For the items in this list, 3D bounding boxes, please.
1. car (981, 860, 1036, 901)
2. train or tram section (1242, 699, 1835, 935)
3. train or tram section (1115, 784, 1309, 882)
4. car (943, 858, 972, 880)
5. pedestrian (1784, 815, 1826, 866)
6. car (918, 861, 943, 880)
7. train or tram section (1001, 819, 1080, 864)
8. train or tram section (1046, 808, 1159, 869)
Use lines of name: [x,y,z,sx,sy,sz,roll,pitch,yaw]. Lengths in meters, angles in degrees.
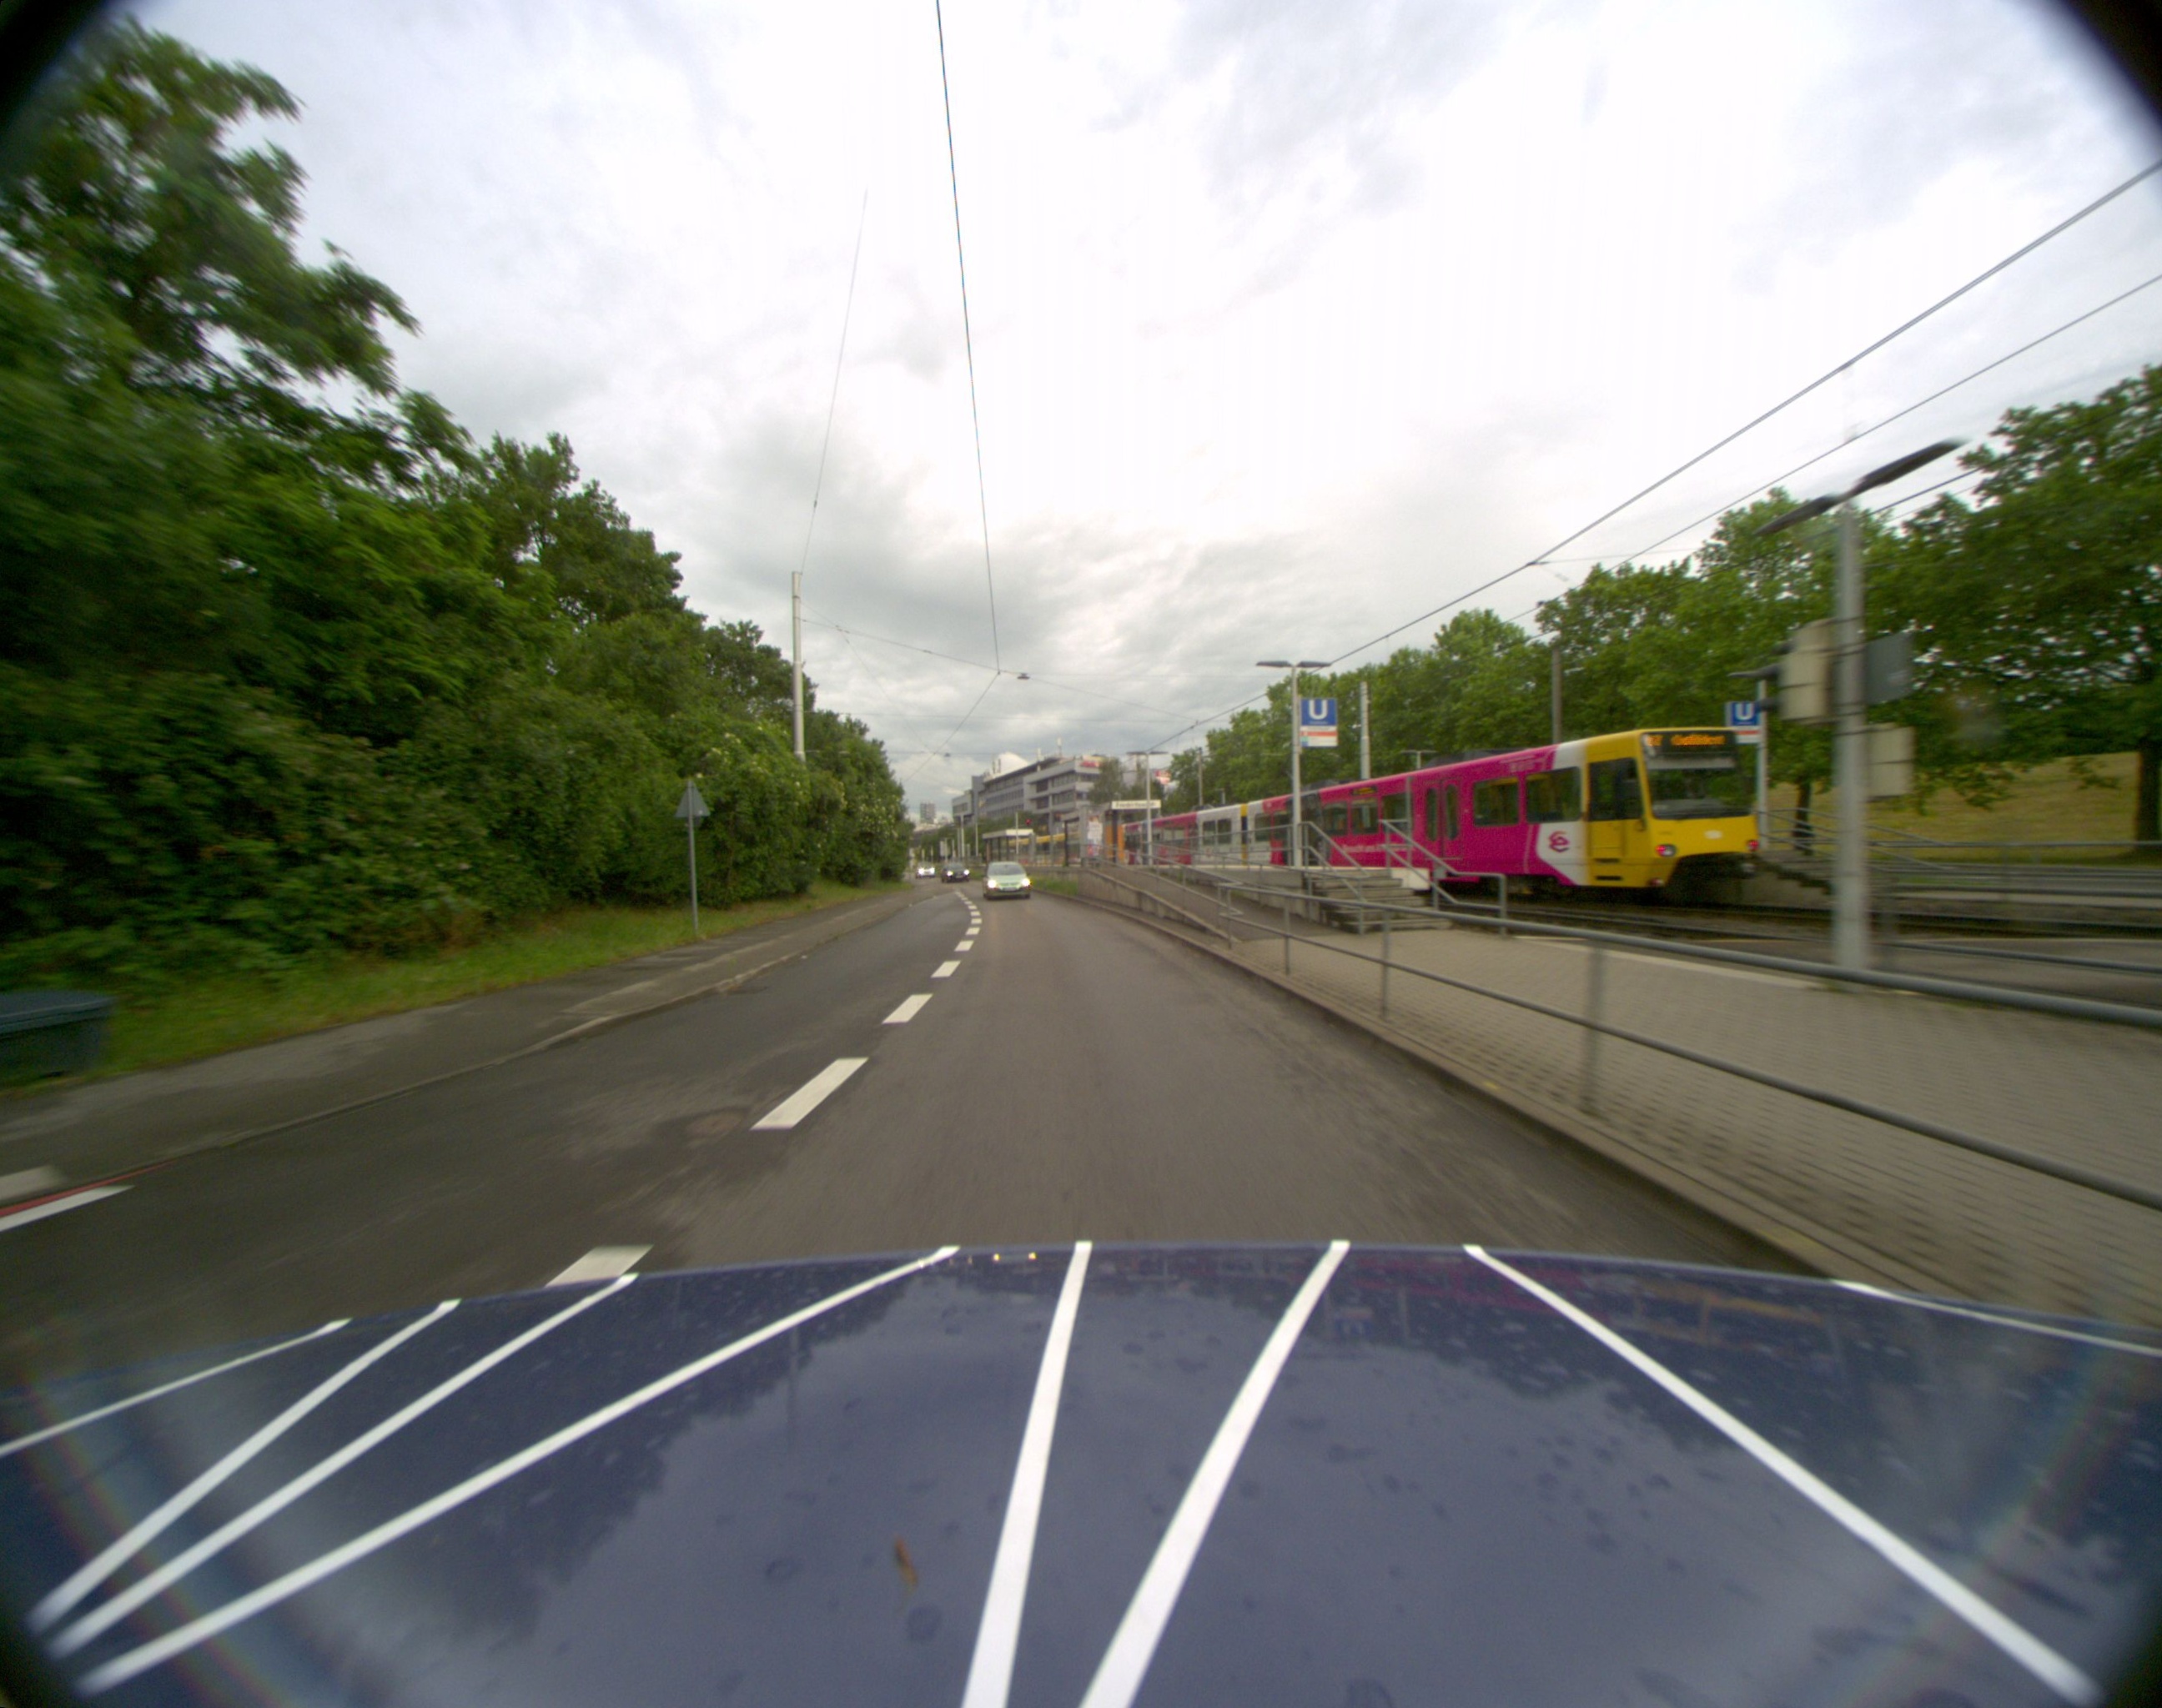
car: [-3.037,1.032,31.224,1.782,1.493,3.995,-1,1,-12]
train or tram section: [10.105,-0.787,22.709,2.877,3.938,19.309,-4,1,-11]
train or tram section: [6.005,-0.977,41.500,2.878,3.948,19.305,-4,2,-13]
car: [-9.479,1.149,58.203,1.782,1.493,3.995,-4,0,-15]
pedestrian: [26.375,-0.492,27.695,0.730,1.810,0.764,-3,1,3]
car: [-14.737,1.571,74.307,2.001,1.563,3.994,-4,2,-16]
train or tram section: [-4.645,-1.170,78.666,2.879,3.950,19.298,-5,2,-18]
train or tram section: [1.068,-1.100,60.134,2.879,3.932,19.301,-4,2,-16]
